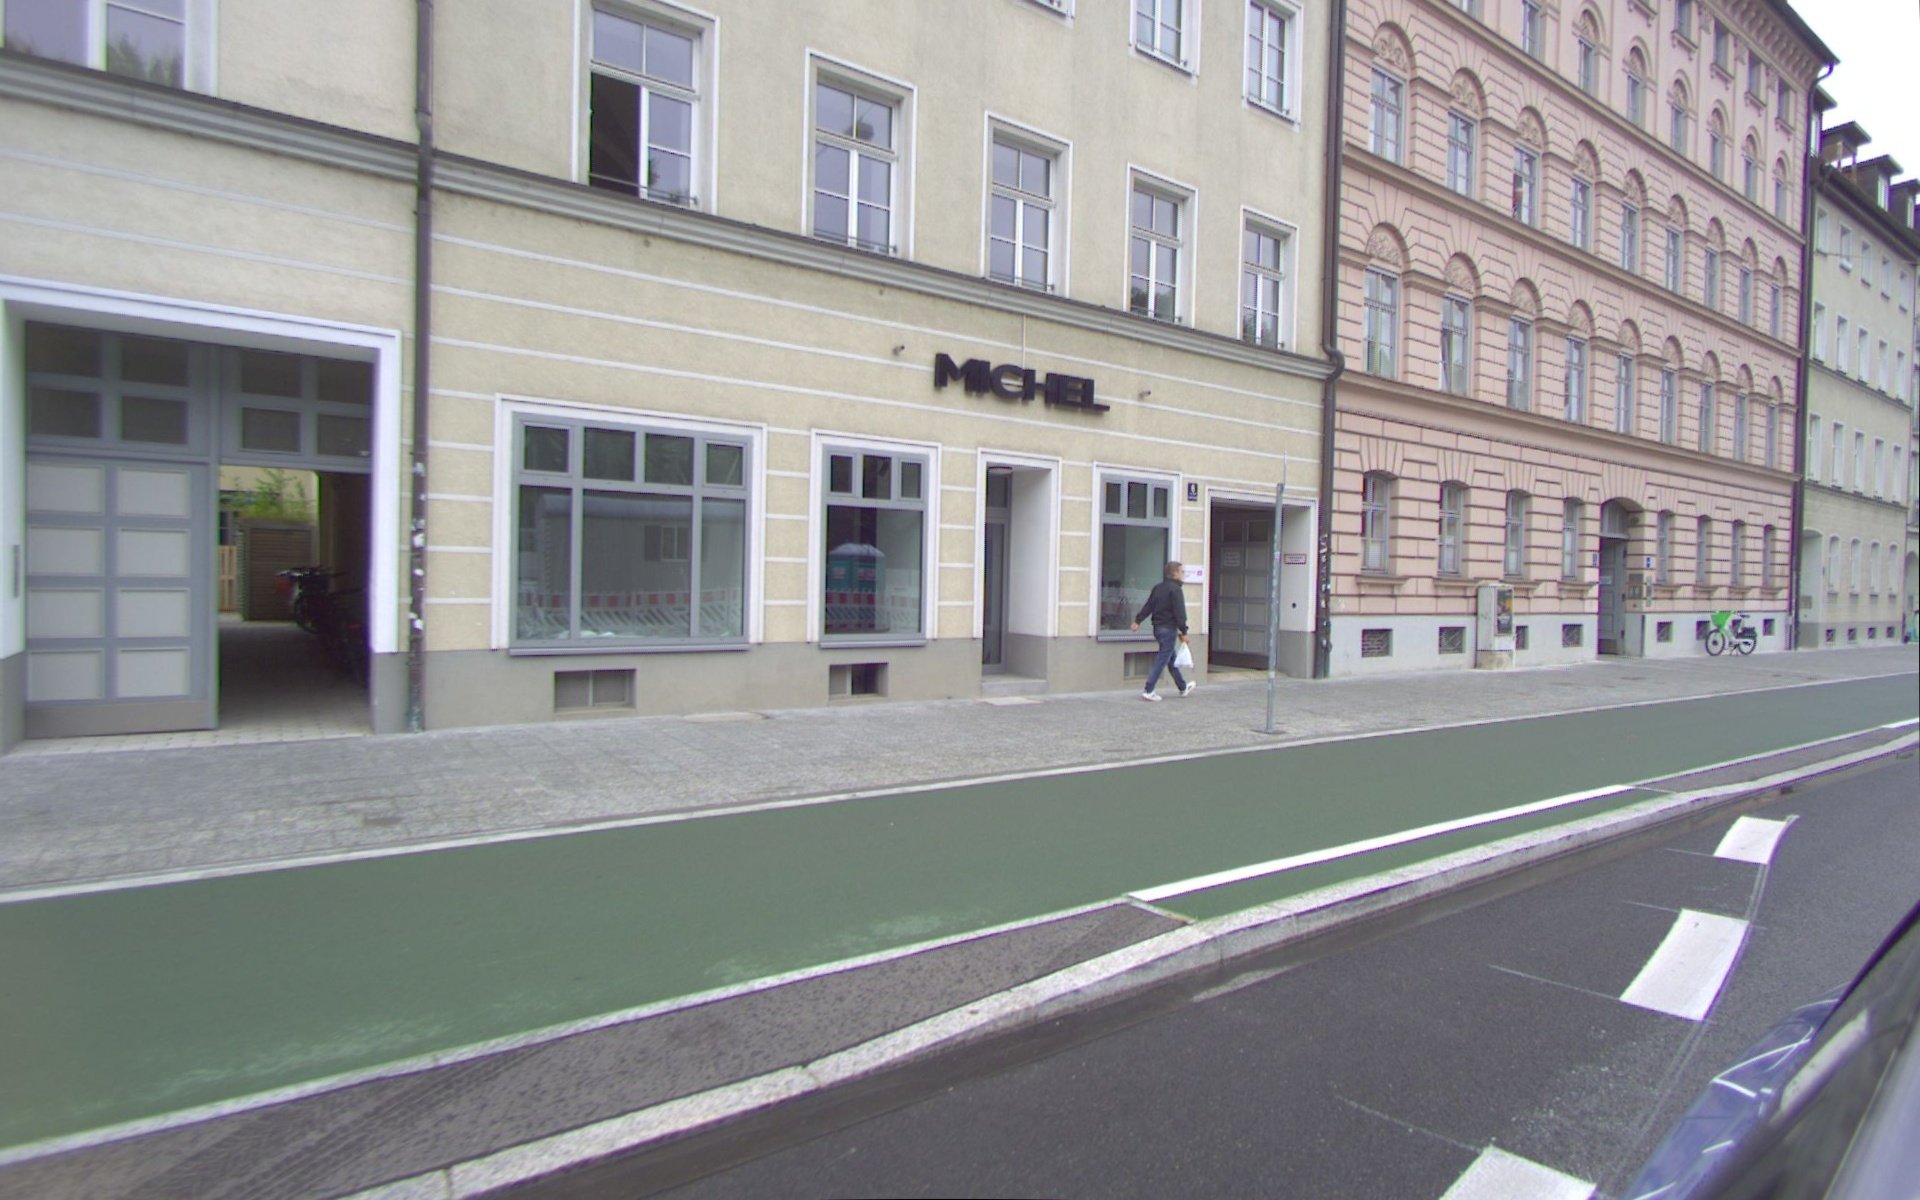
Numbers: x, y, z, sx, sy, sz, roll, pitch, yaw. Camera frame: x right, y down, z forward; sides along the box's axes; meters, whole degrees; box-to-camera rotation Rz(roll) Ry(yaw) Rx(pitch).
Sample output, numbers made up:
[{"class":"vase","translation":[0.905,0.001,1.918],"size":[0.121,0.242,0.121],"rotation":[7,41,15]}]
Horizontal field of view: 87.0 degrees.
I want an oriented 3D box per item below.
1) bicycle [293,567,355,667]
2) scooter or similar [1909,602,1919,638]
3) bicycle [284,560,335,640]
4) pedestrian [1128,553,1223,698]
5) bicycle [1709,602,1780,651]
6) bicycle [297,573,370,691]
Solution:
[{"class":"bicycle","translation":[-8.376,0.183,13.295],"size":[0.547,1.192,1.933],"rotation":[1,2,-36]},{"class":"scooter or similar","translation":[34.477,0.727,35.894],"size":[1.056,1.261,0.553],"rotation":[1,1,0]},{"class":"bicycle","translation":[-10.380,-0.027,16.122],"size":[0.547,1.192,1.933],"rotation":[1,2,-36]},{"class":"pedestrian","translation":[2.730,0.300,12.848],"size":[0.817,1.767,0.796],"rotation":[1,1,-34]},{"class":"bicycle","translation":[19.662,0.669,25.363],"size":[1.689,1.191,0.559],"rotation":[1,1,-20]},{"class":"bicycle","translation":[-7.187,0.317,11.569],"size":[0.547,1.192,2.031],"rotation":[1,2,-36]}]
